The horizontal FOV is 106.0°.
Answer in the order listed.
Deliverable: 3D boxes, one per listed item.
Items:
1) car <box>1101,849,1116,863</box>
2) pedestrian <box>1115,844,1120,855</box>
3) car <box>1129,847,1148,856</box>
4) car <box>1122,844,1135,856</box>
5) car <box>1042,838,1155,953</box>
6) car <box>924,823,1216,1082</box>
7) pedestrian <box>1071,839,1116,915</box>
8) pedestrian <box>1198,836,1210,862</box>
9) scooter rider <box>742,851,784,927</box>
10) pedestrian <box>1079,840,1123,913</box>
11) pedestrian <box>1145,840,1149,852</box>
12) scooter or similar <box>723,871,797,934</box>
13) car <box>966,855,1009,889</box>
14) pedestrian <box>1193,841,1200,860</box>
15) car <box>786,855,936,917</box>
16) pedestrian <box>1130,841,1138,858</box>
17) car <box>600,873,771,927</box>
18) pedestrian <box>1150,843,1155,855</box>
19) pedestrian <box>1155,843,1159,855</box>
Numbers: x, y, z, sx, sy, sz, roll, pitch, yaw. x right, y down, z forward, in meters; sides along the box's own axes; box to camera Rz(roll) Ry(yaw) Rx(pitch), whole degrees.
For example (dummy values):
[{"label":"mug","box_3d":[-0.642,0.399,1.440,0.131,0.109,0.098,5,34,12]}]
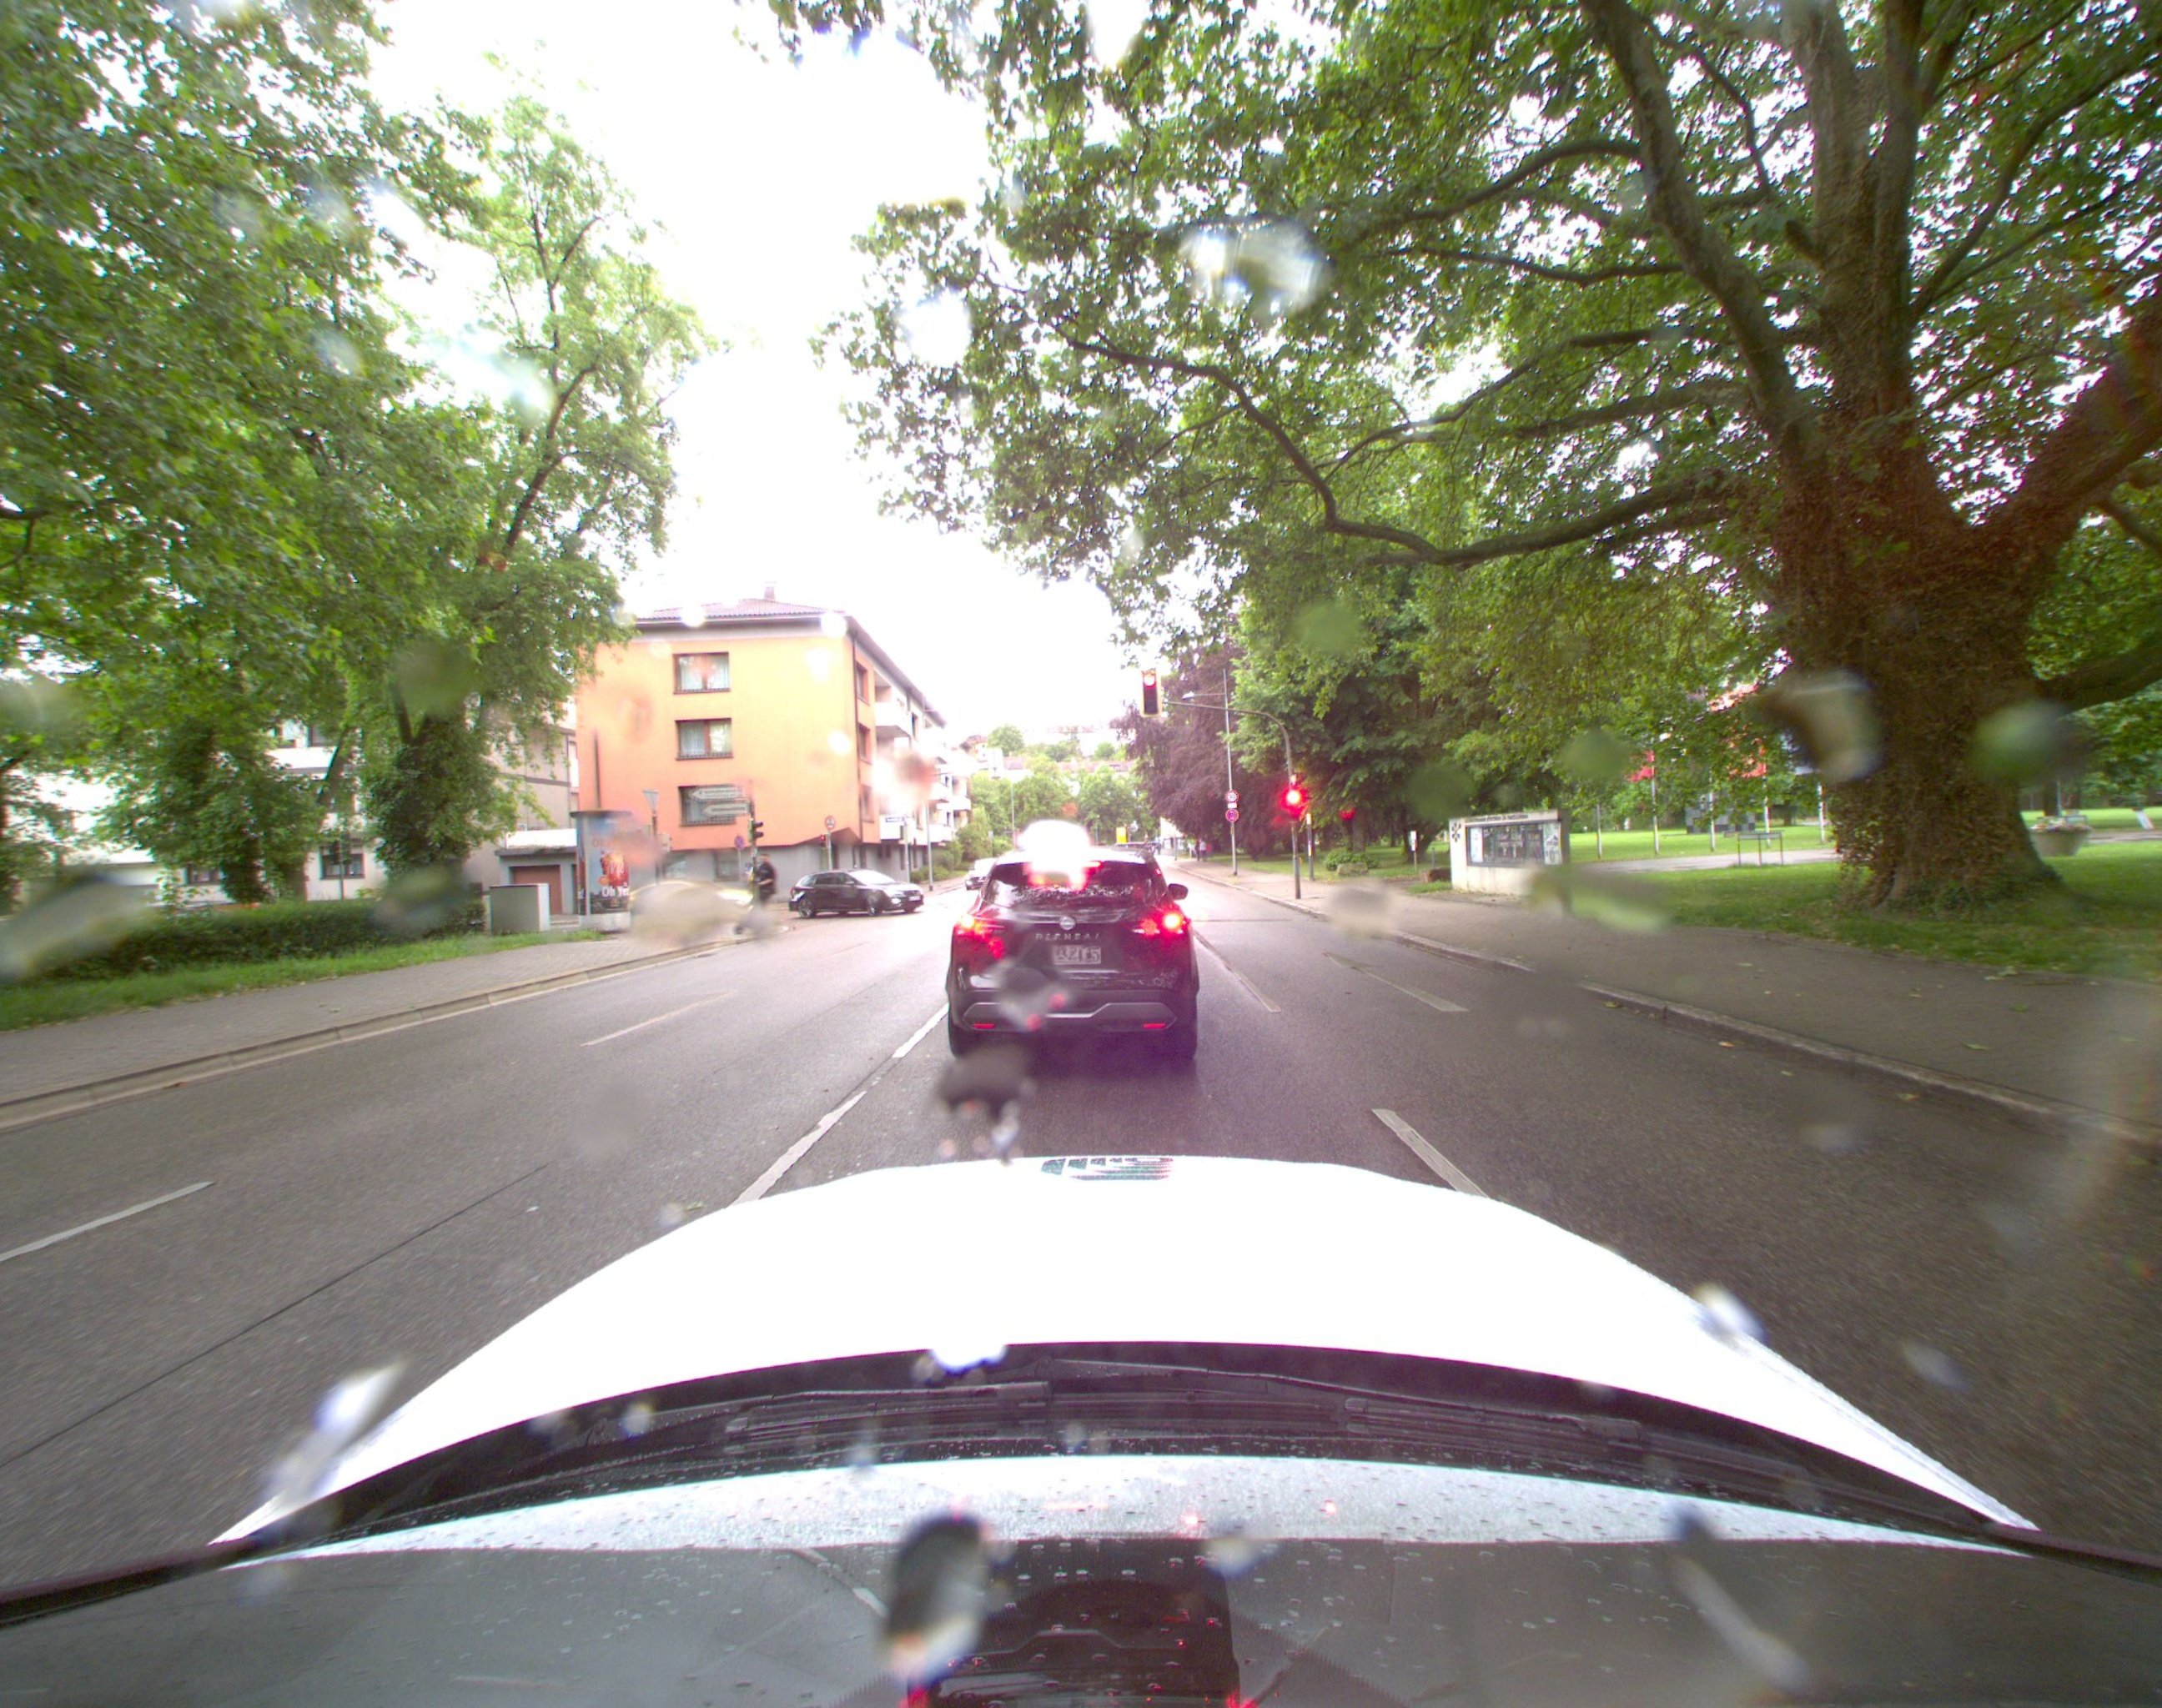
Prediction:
[{"label":"car","box_3d":[3.359,0.206,98.941,1.628,1.532,3.969,-3,0,2]},{"label":"pedestrian","box_3d":[6.068,-0.772,135.460,0.503,1.673,0.663,-3,0,29]},{"label":"car","box_3d":[12.477,-0.524,176.586,3.952,1.532,1.635,-3,0,-8]},{"label":"car","box_3d":[7.628,-0.627,130.598,1.983,1.735,4.007,0,0,7]},{"label":"car","box_3d":[0.336,0.649,14.771,1.692,1.745,3.642,-3,0,2]},{"label":"car","box_3d":[-0.008,0.646,7.392,1.906,1.680,4.002,-1,0,2]},{"label":"pedestrian","box_3d":[0.309,0.575,20.609,1.035,1.876,0.656,-1,-1,-9]},{"label":"pedestrian","box_3d":[9.467,-0.380,62.831,0.722,2.013,0.852,-3,0,2]},{"label":"scooter rider","box_3d":[-7.611,0.821,19.479,0.649,1.766,0.726,-1,-2,-45]},{"label":"pedestrian","box_3d":[0.513,0.578,21.357,1.035,1.876,0.656,-1,-1,-9]},{"label":"pedestrian","box_3d":[10.255,-1.254,126.337,0.506,1.802,0.620,-3,0,1]},{"label":"scooter or similar","box_3d":[-7.654,1.137,19.442,1.406,1.446,0.807,2,-2,-44]},{"label":"car","box_3d":[-4.725,0.880,41.559,1.791,1.533,3.865,-3,0,-2]},{"label":"pedestrian","box_3d":[9.552,-0.288,67.264,0.388,1.502,0.559,-3,0,2]},{"label":"car","box_3d":[-6.705,0.975,24.826,4.086,1.625,1.862,-3,0,24]},{"label":"pedestrian","box_3d":[5.638,-0.459,86.879,0.510,1.802,0.615,-3,0,-20]},{"label":"car","box_3d":[-12.889,1.476,26.782,4.625,1.403,1.830,-4,0,-3]},{"label":"pedestrian","box_3d":[11.020,-0.709,125.617,0.506,1.802,0.659,-3,0,2]},{"label":"pedestrian","box_3d":[11.765,-0.786,125.531,0.507,1.802,0.619,-3,0,0]}]
